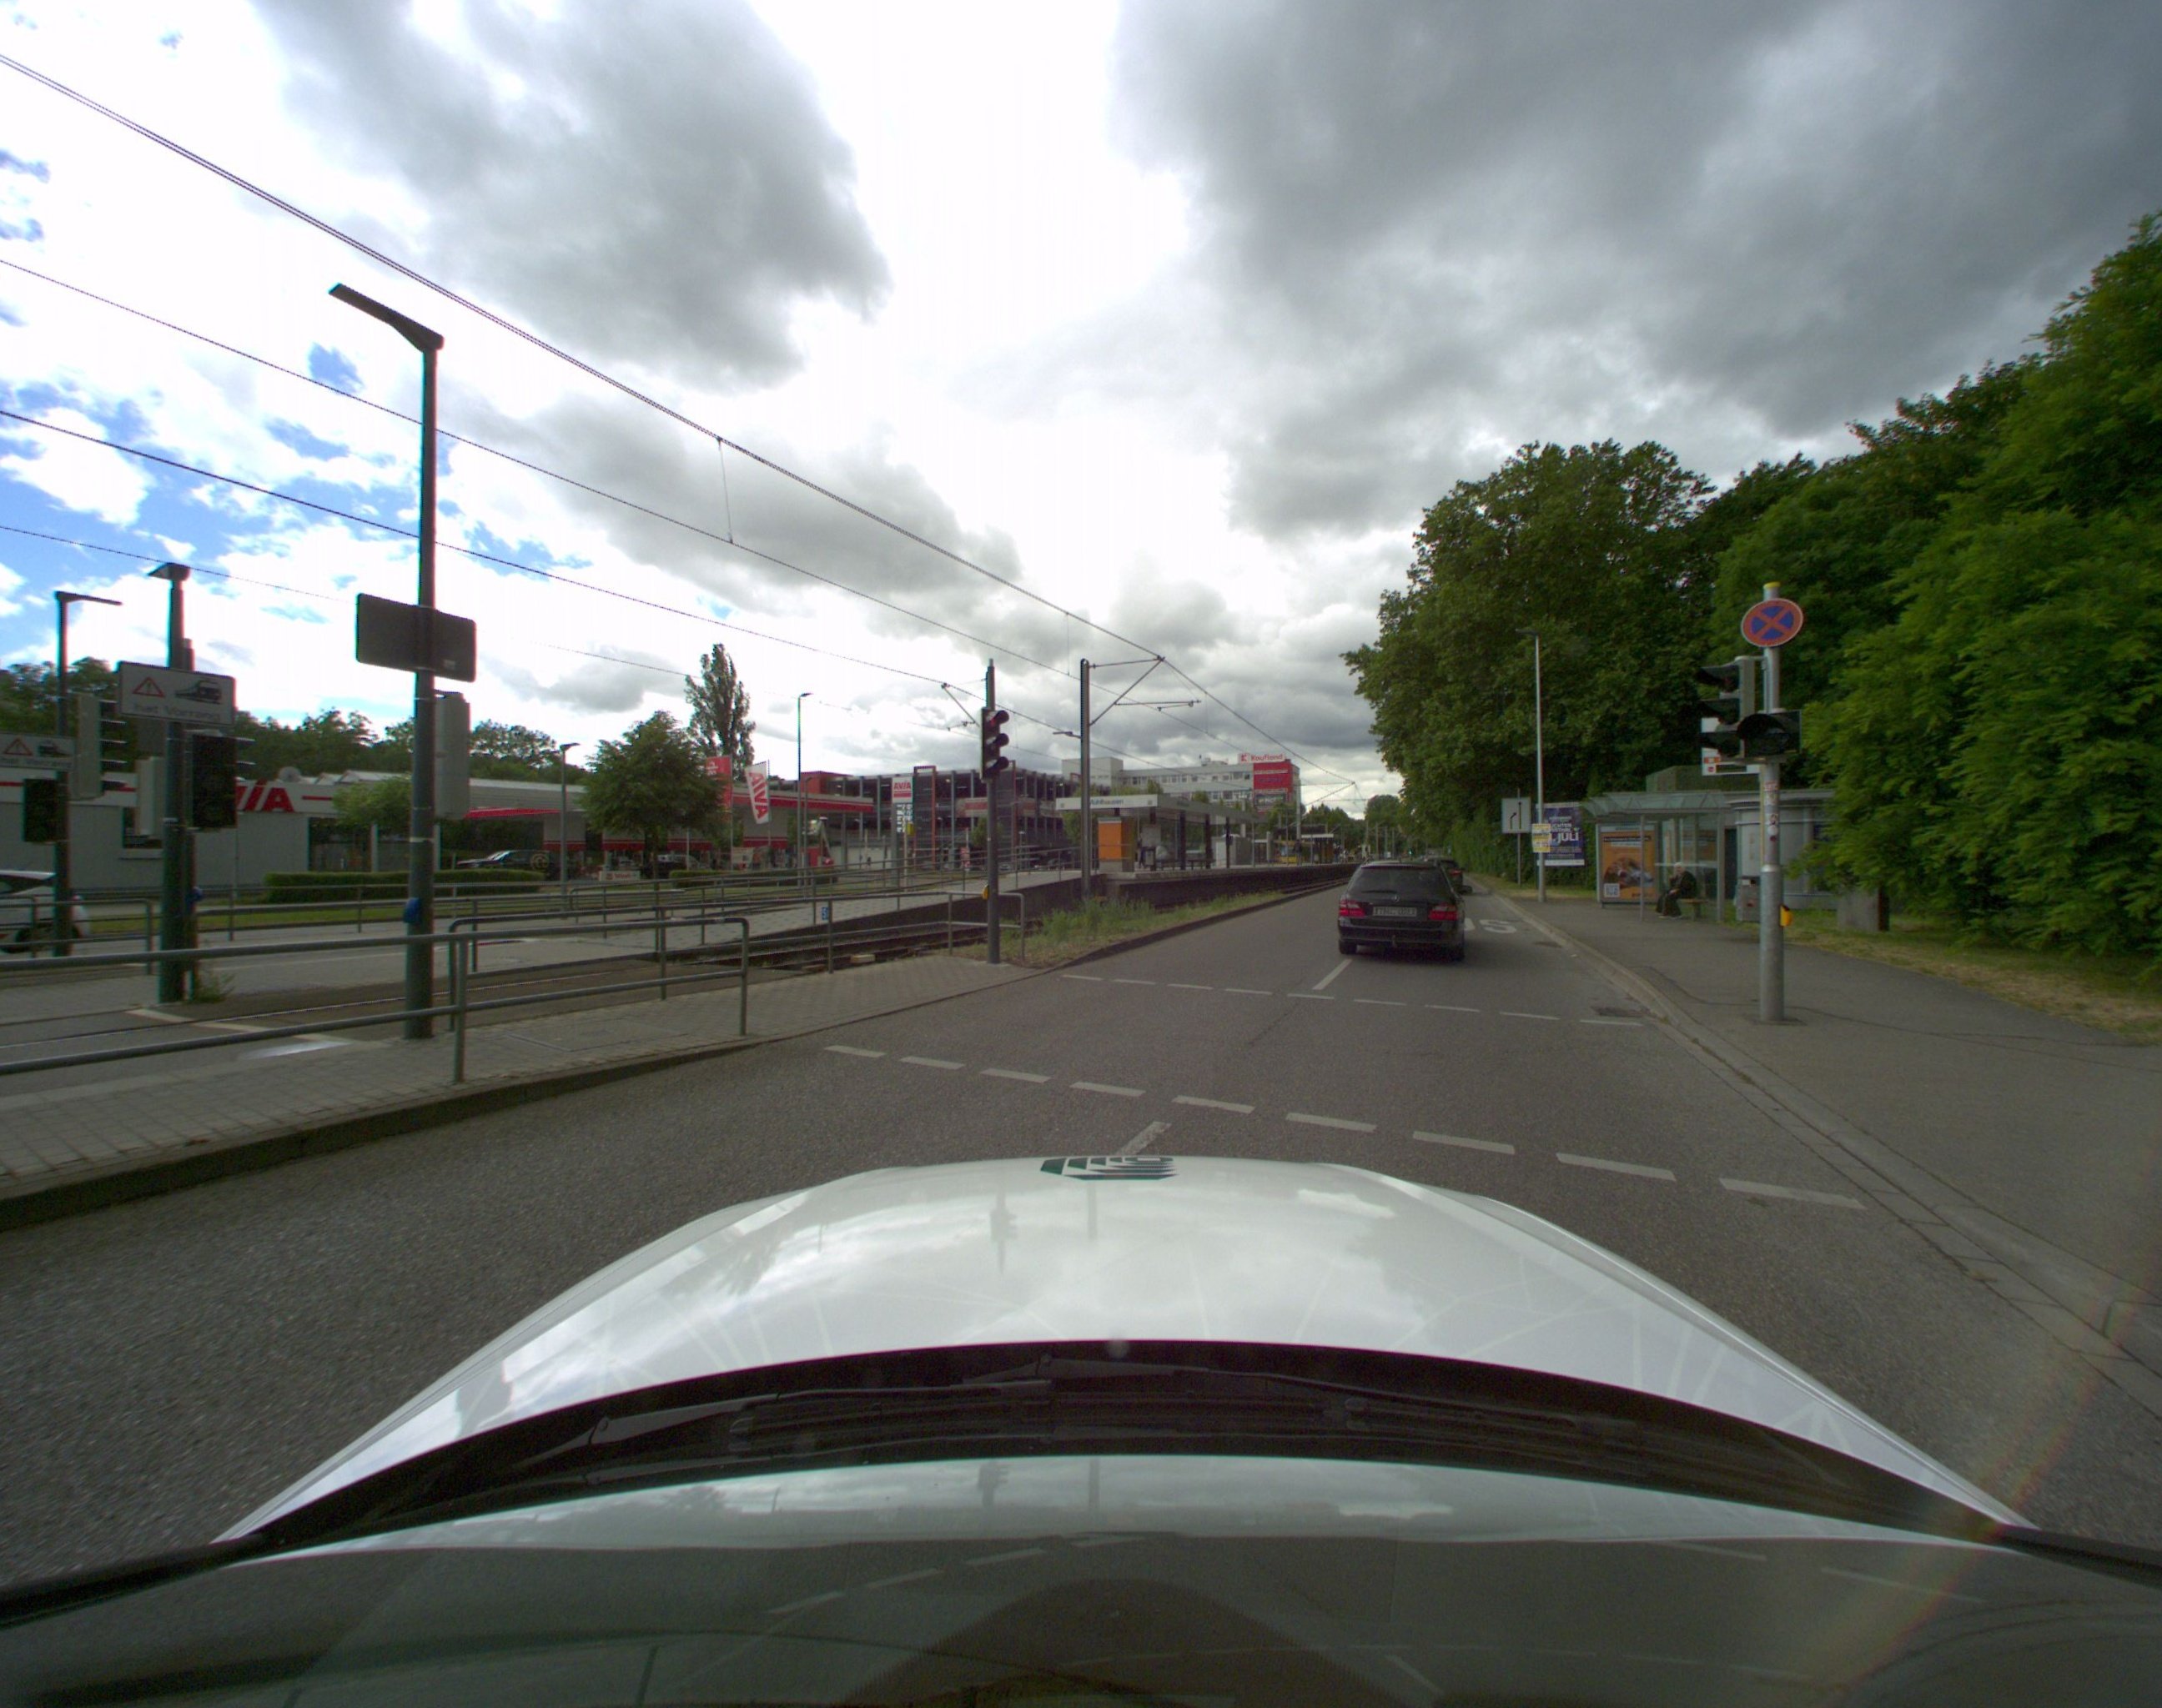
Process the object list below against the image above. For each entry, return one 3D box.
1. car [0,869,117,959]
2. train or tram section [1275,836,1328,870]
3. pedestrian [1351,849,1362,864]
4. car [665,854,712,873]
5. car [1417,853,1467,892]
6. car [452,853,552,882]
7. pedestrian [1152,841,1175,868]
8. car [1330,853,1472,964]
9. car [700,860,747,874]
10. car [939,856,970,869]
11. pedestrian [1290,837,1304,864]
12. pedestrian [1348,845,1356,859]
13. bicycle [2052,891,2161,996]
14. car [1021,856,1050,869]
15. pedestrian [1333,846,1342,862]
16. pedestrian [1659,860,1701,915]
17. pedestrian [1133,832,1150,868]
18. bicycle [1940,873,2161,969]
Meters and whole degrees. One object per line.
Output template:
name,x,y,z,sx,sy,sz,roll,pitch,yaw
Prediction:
car,-18.616,0.988,13.025,1.611,1.454,3.852,-1,-1,28
train or tram section,27.917,-0.079,102.275,2.731,3.883,18.741,-1,0,26
pedestrian,31.199,0.244,92.353,0.877,1.678,0.740,-1,-2,-22
car,-39.986,0.975,83.052,1.892,1.752,4.081,-2,-1,23
car,15.316,0.724,34.625,1.809,1.530,4.440,1,0,24
car,-28.161,0.636,39.715,1.598,1.350,3.657,0,0,26
pedestrian,3.663,0.018,36.044,0.762,1.189,0.732,-1,-1,28
car,5.382,0.740,13.329,1.816,1.478,4.441,0,0,26
car,-35.203,1.265,80.299,1.892,1.365,4.081,-2,-1,23
car,-14.359,0.964,92.625,1.700,1.415,3.580,-2,-1,25
pedestrian,14.245,-0.211,53.671,0.742,1.744,0.942,-2,-2,24
pedestrian,28.830,-0.193,86.765,0.583,1.482,0.516,0,-2,-28
bicycle,10.417,0.825,7.489,1.849,0.924,0.548,-1,1,25
car,-5.527,1.067,99.753,1.761,1.539,4.023,-2,-1,24
pedestrian,26.240,-0.007,83.242,0.764,1.678,0.795,-2,-2,24
pedestrian,12.850,0.715,17.485,0.595,1.158,0.550,-2,-1,24
pedestrian,2.749,-0.165,37.212,0.565,1.620,0.589,-2,-2,24
bicycle,10.936,0.710,8.930,2.018,0.939,0.595,1,0,39
